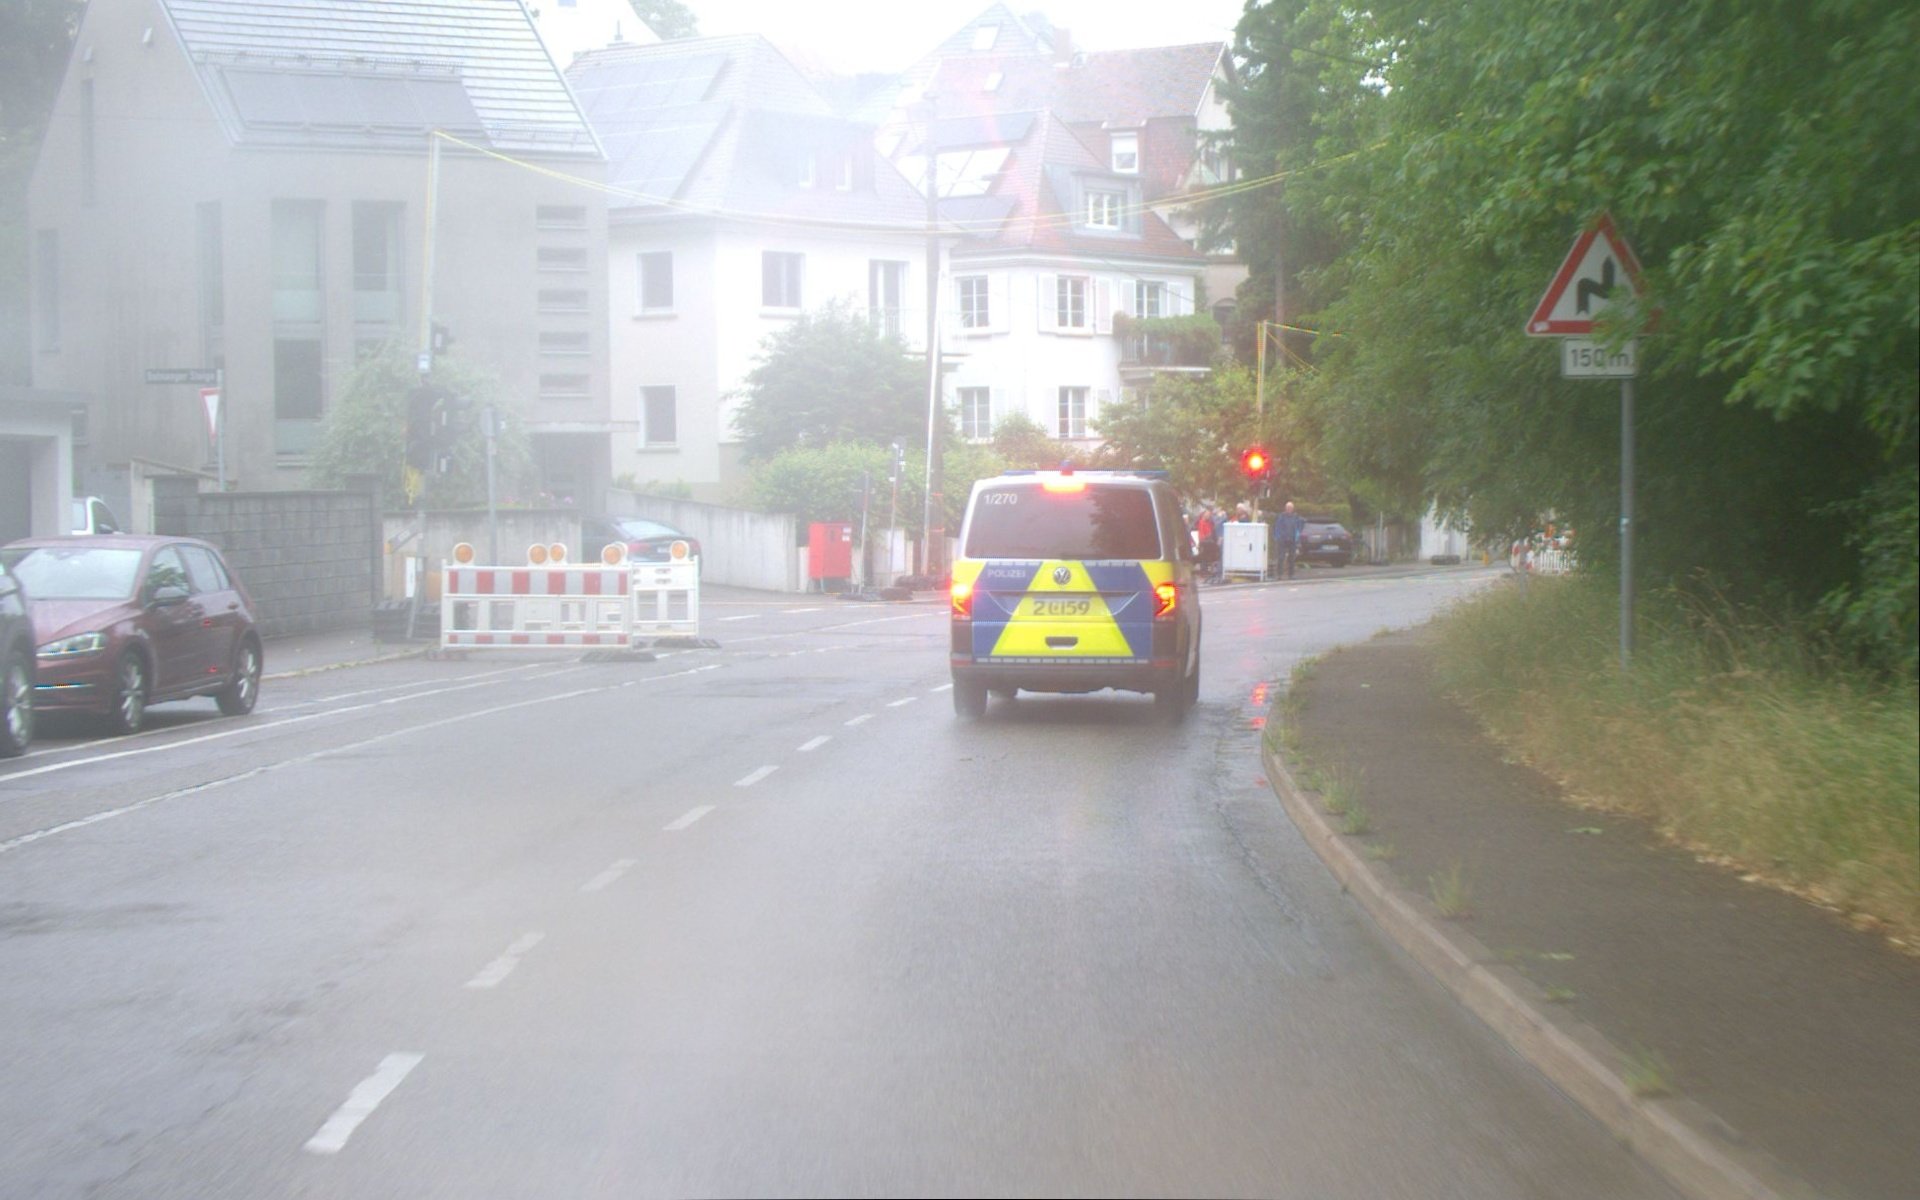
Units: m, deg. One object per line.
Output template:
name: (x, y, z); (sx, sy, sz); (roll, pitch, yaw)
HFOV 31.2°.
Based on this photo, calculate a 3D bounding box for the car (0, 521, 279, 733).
car: (-6.651, 0.138, 26.329); (1.617, 1.435, 4.229); (0, 2, 6)

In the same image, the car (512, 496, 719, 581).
car: (-6.265, -1.138, 62.228); (1.834, 1.438, 3.999); (-1, 3, -39)

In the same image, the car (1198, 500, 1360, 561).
car: (8.749, -1.909, 94.275); (3.993, 1.481, 1.757); (2, 0, 29)

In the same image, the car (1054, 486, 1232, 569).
car: (4.551, -1.819, 85.562); (3.993, 2.007, 1.827); (2, 2, 30)

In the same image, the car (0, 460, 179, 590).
car: (-10.597, -0.889, 40.570); (1.776, 1.459, 3.616); (0, 1, 3)

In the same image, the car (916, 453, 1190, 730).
car: (0.814, -0.158, 28.480); (1.994, 2.006, 4.402); (-3, 2, 3)

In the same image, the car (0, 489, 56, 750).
car: (-6.985, 0.175, 20.878); (1.754, 1.653, 4.405); (-2, 2, 0)
